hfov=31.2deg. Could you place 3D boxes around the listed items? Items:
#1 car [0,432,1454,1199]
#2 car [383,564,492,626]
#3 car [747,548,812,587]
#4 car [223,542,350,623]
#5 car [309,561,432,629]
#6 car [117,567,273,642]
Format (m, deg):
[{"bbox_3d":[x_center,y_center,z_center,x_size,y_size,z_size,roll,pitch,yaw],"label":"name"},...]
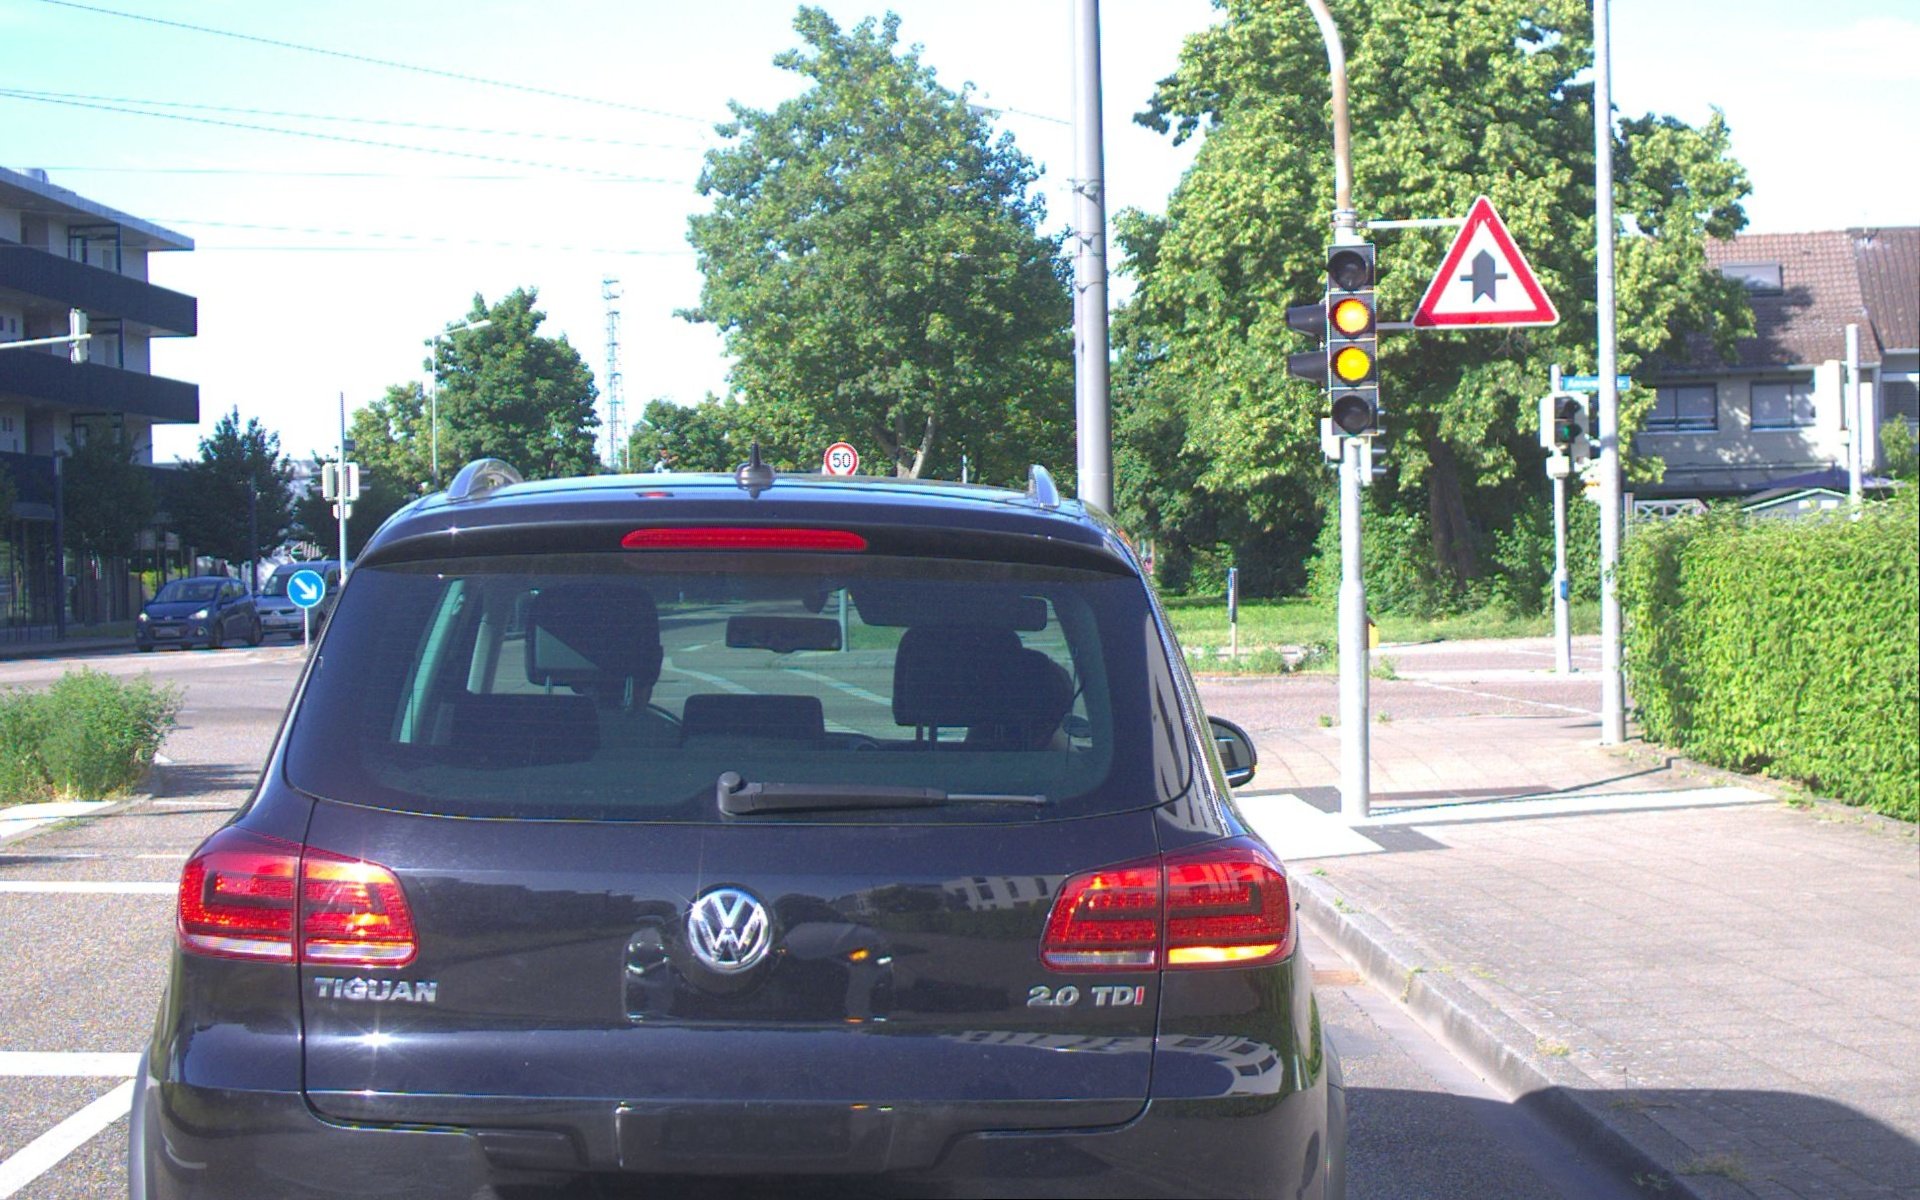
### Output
[{"bbox_3d":[-0.397,0.594,6.803,1.929,1.649,4.515,1,1,-2],"label":"car"},{"bbox_3d":[-13.627,-0.159,89.969,1.967,1.529,4.740,-1,1,2],"label":"car"},{"bbox_3d":[-7.632,-1.392,145.662,1.994,1.566,3.999,-1,1,8],"label":"car"},{"bbox_3d":[-15.283,-0.411,78.243,1.993,1.749,4.362,-1,1,0],"label":"car"},{"bbox_3d":[-14.303,-0.130,83.597,1.994,1.482,3.543,-3,1,6],"label":"car"},{"bbox_3d":[-15.800,0.072,71.229,1.696,1.451,4.451,-1,1,8],"label":"car"}]
